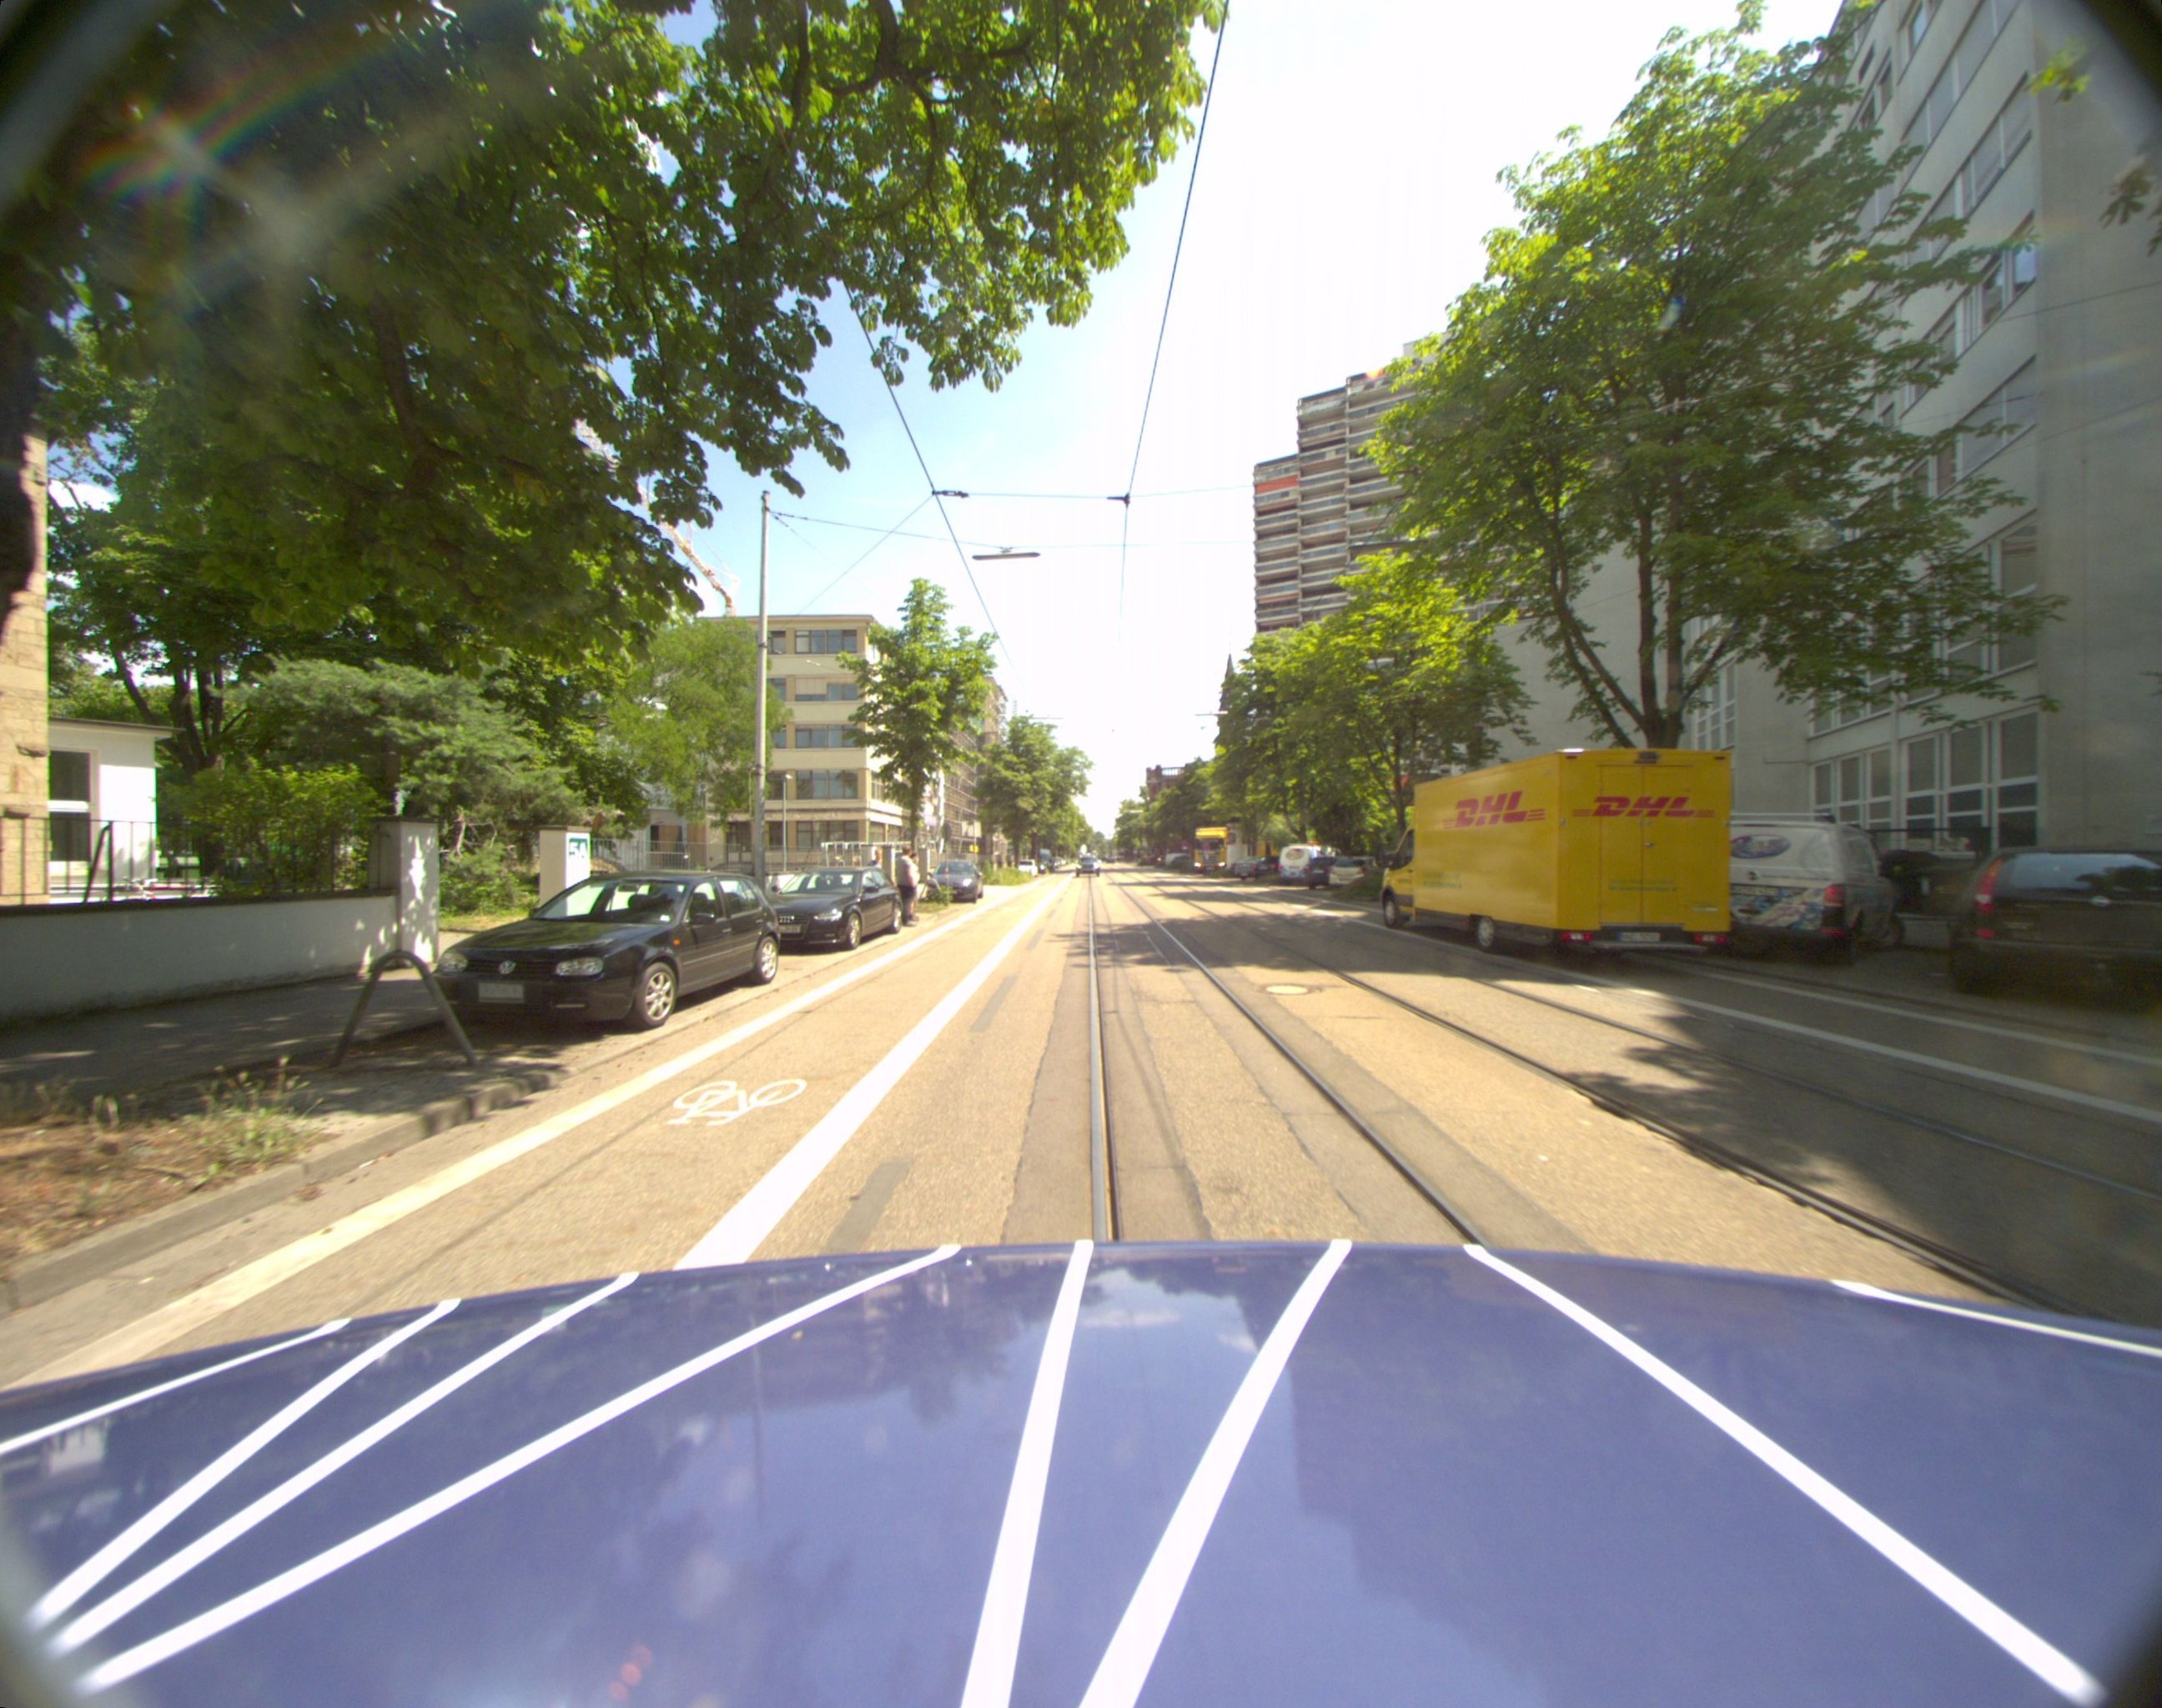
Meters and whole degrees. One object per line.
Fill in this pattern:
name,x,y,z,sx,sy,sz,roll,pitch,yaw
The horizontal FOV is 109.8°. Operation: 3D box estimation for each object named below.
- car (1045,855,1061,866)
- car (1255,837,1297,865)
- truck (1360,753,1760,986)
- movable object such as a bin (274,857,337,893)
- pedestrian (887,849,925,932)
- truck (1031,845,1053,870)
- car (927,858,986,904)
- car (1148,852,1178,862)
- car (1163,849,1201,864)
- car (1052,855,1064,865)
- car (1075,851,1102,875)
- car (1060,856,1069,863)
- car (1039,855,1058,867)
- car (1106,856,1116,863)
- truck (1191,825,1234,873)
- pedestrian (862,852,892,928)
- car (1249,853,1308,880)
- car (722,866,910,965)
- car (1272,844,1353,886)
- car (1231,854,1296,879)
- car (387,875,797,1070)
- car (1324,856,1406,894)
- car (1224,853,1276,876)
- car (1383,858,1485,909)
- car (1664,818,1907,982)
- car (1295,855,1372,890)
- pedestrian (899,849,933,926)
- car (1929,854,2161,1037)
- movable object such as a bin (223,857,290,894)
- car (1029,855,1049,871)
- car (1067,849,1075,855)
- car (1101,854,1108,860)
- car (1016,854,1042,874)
car,-3.751,0.847,102.170,1.829,1.463,4.487,-1,0,2
car,19.414,-0.305,75.344,2.179,2.551,6.736,-1,1,31
truck,7.198,0.199,12.978,2.366,2.836,7.379,0,0,2
movable object such as a bin,-32.494,0.844,31.843,1.405,1.455,1.391,0,0,21
pedestrian,-3.990,0.809,17.290,0.577,1.849,0.809,0,1,-35
truck,-4.080,0.371,81.191,2.019,2.474,5.956,-1,0,0
car,-4.340,0.895,27.000,1.643,1.477,3.871,0,1,-3
car,13.970,0.454,129.536,4.787,1.557,1.997,-1,0,-28
car,12.920,0.355,96.757,4.556,1.780,1.896,-2,0,-32
car,-3.438,0.845,112.453,1.675,1.429,4.042,-1,0,0
car,0.566,0.667,58.741,1.998,1.731,4.227,-2,0,0
car,-3.362,1.081,155.326,1.675,1.481,3.980,-1,0,0
car,-3.916,0.831,91.292,1.828,1.463,4.401,-1,0,3
car,6.543,1.192,166.228,1.779,1.389,4.287,-1,0,-1
truck,11.729,-0.477,66.815,2.719,3.819,10.974,-2,1,15
pedestrian,-4.789,0.826,17.810,0.479,1.727,0.619,0,1,-35
car,11.620,0.721,44.607,3.717,1.535,1.687,0,0,-45
car,-4.721,1.019,14.320,1.881,1.446,4.527,0,1,1
car,11.603,0.512,37.898,1.916,1.923,4.767,2,1,43
car,11.507,0.747,47.739,4.212,1.498,1.869,0,0,-40
car,-4.748,1.022,8.279,1.715,1.415,4.243,0,1,0
car,11.886,0.827,31.700,3.717,1.459,1.757,1,1,-45
car,11.381,0.679,51.087,1.757,1.498,3.717,1,0,44
car,11.394,0.901,24.407,1.757,1.425,4.009,3,1,43
car,11.020,0.595,11.768,4.772,2.050,2.021,1,0,-38
car,11.496,0.811,34.448,1.812,1.498,3.717,2,1,45
pedestrian,-4.041,0.801,18.617,0.577,1.849,0.724,0,1,-35
car,10.699,0.828,8.258,3.927,1.591,1.742,1,0,-45
movable object such as a bin,-33.173,0.840,30.581,1.405,1.455,1.391,0,0,22
car,-4.025,0.849,73.183,1.648,1.525,3.947,-1,0,0
car,-2.500,-0.515,185.276,1.756,1.263,3.833,-2,0,1
car,7.190,0.973,231.607,1.835,1.671,4.184,0,0,1
car,-4.109,0.813,60.728,1.648,1.525,3.786,-1,0,2
